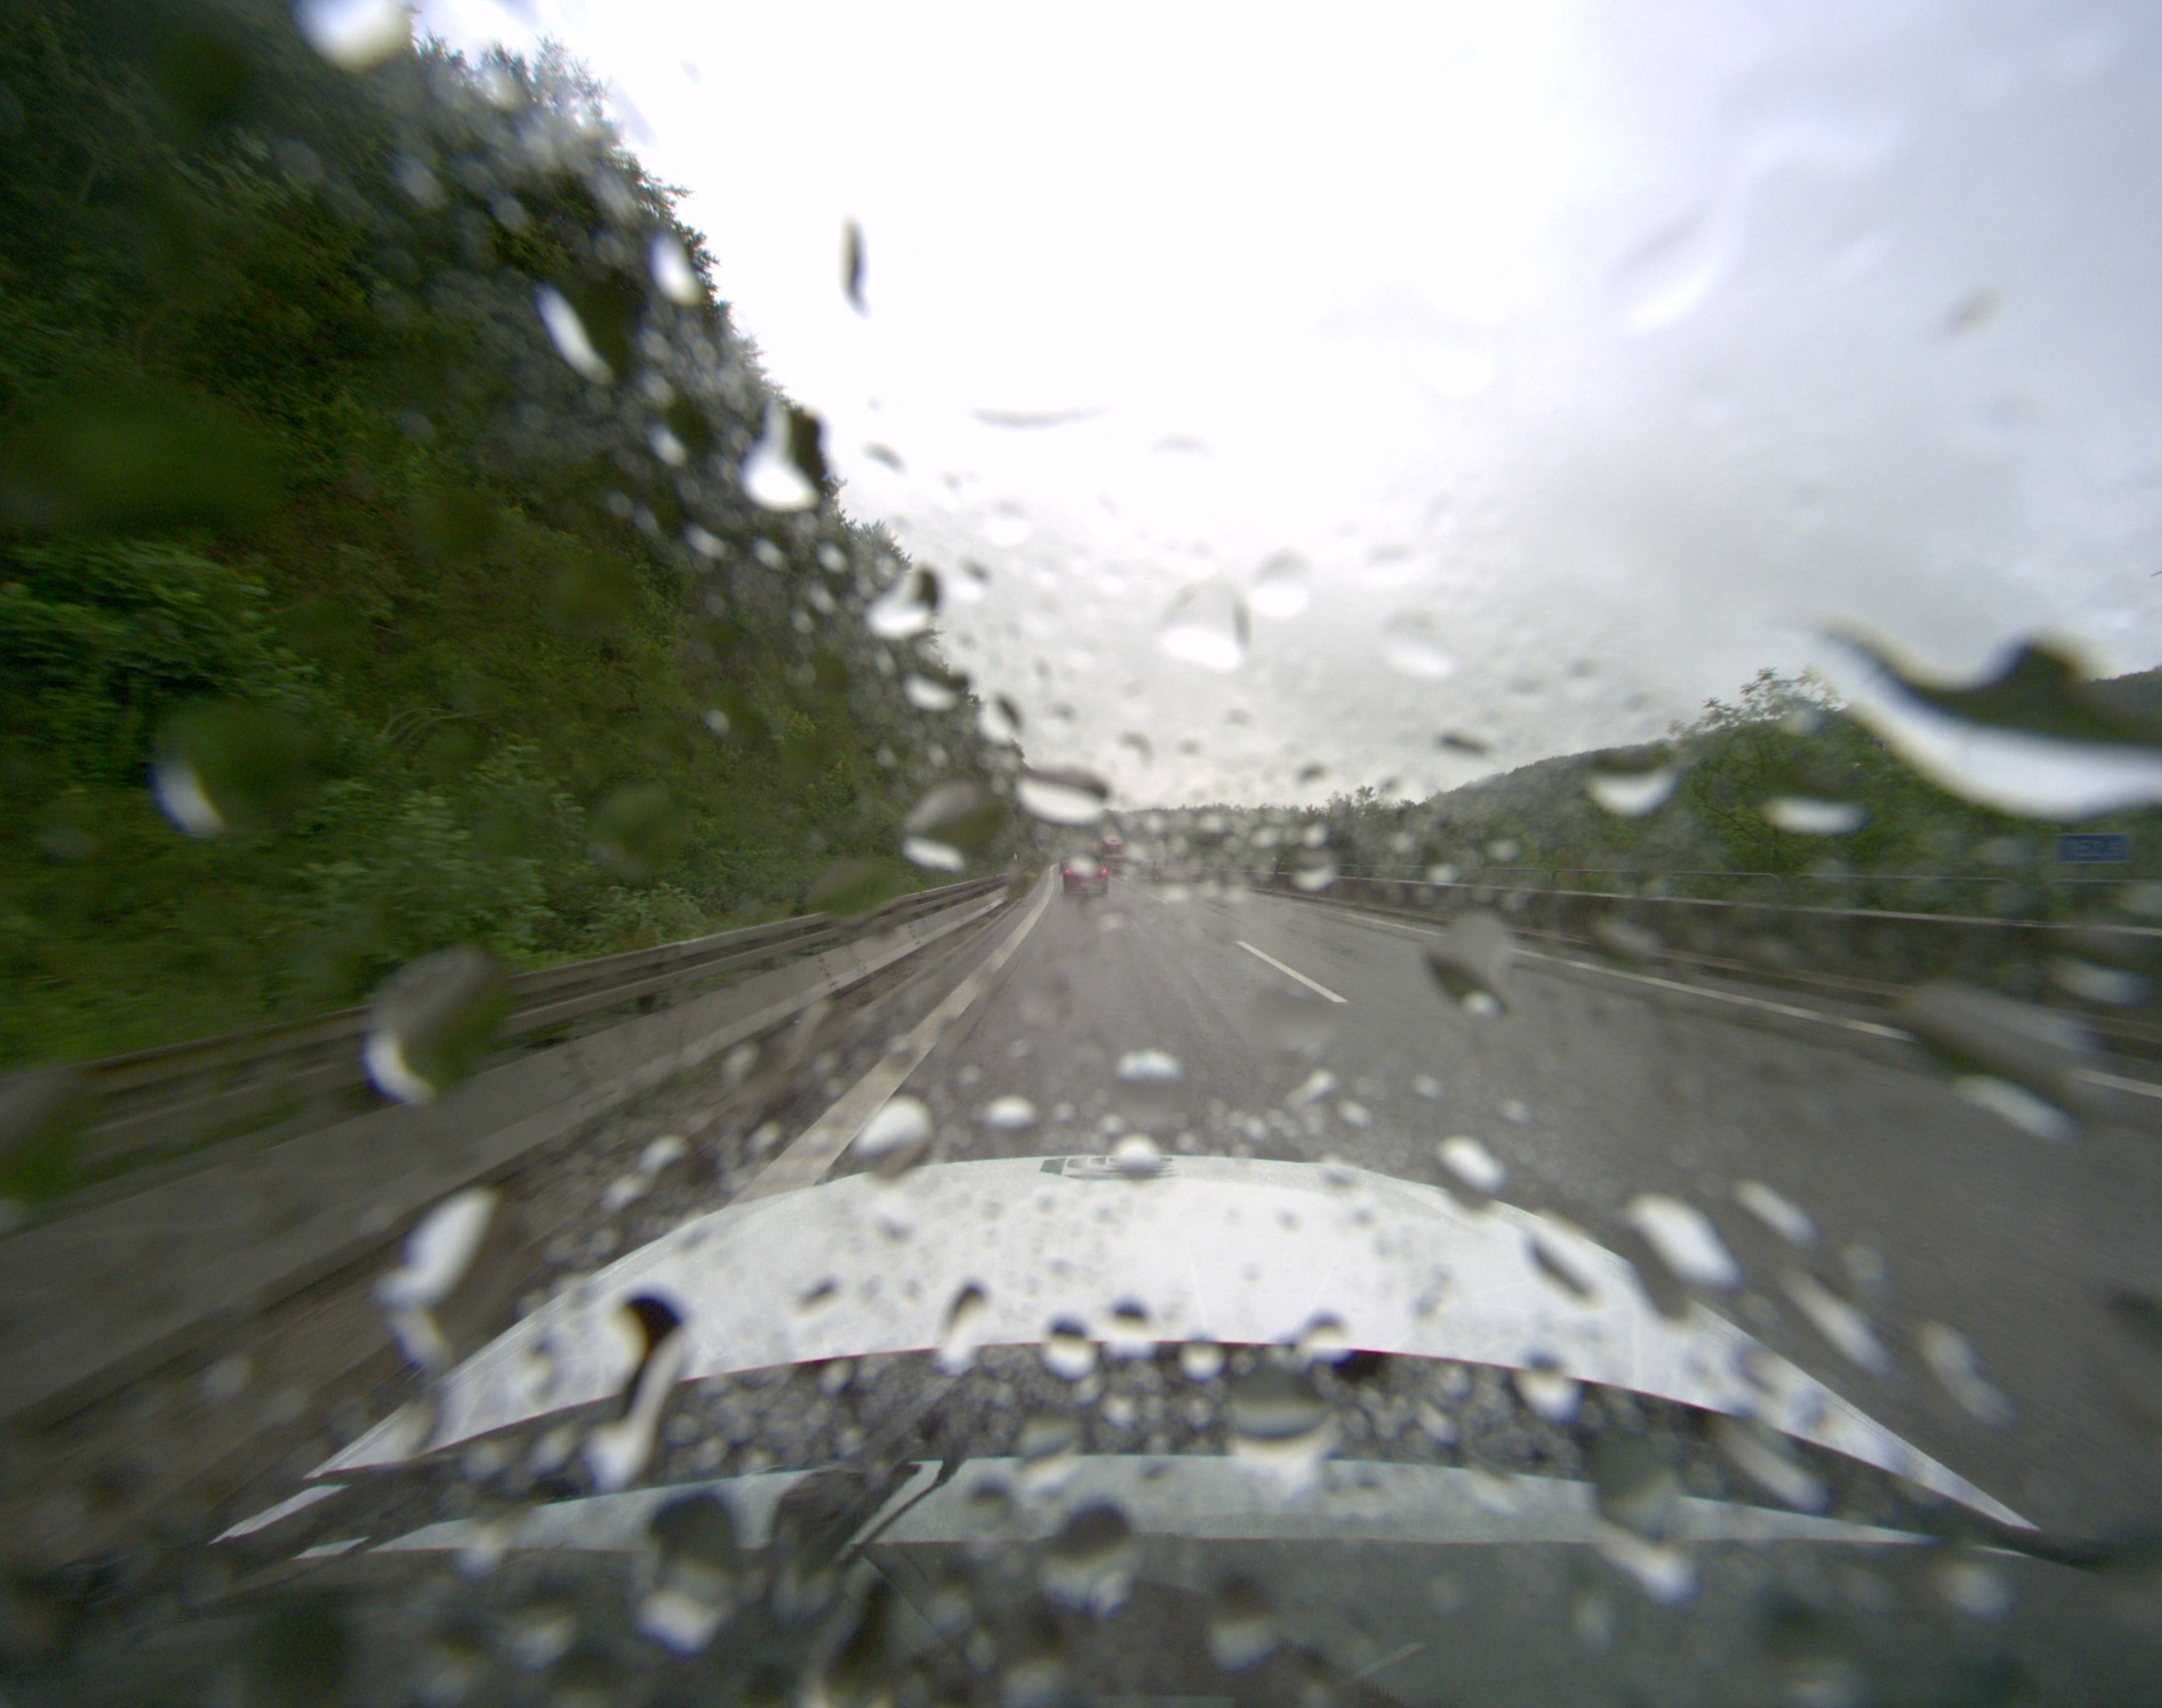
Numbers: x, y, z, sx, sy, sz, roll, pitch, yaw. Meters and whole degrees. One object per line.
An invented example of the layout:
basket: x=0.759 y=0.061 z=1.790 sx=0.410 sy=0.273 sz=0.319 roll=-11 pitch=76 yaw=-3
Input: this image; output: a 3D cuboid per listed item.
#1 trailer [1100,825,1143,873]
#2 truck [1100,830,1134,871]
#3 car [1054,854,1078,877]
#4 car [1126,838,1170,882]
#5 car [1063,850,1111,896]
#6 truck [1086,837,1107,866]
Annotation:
trailer: x=3.691 y=-0.392 z=77.380 sx=3.208 sy=3.999 sz=13.518 roll=2 pitch=0 yaw=-1
truck: x=3.653 y=-0.334 z=84.062 sx=3.209 sy=3.978 sz=5.437 roll=2 pitch=-1 yaw=0
car: x=-1.204 y=0.886 z=63.882 sx=1.818 sy=1.696 sz=3.998 roll=0 pitch=-1 yaw=-1
car: x=4.578 y=0.407 z=56.565 sx=2.200 sy=2.794 sz=7.379 roll=3 pitch=0 yaw=-1
car: x=0.174 y=0.730 z=32.467 sx=1.753 sy=1.685 sz=3.997 roll=0 pitch=-1 yaw=-2
truck: x=2.621 y=-0.337 z=136.718 sx=3.213 sy=4.682 sz=8.296 roll=0 pitch=-1 yaw=-1
